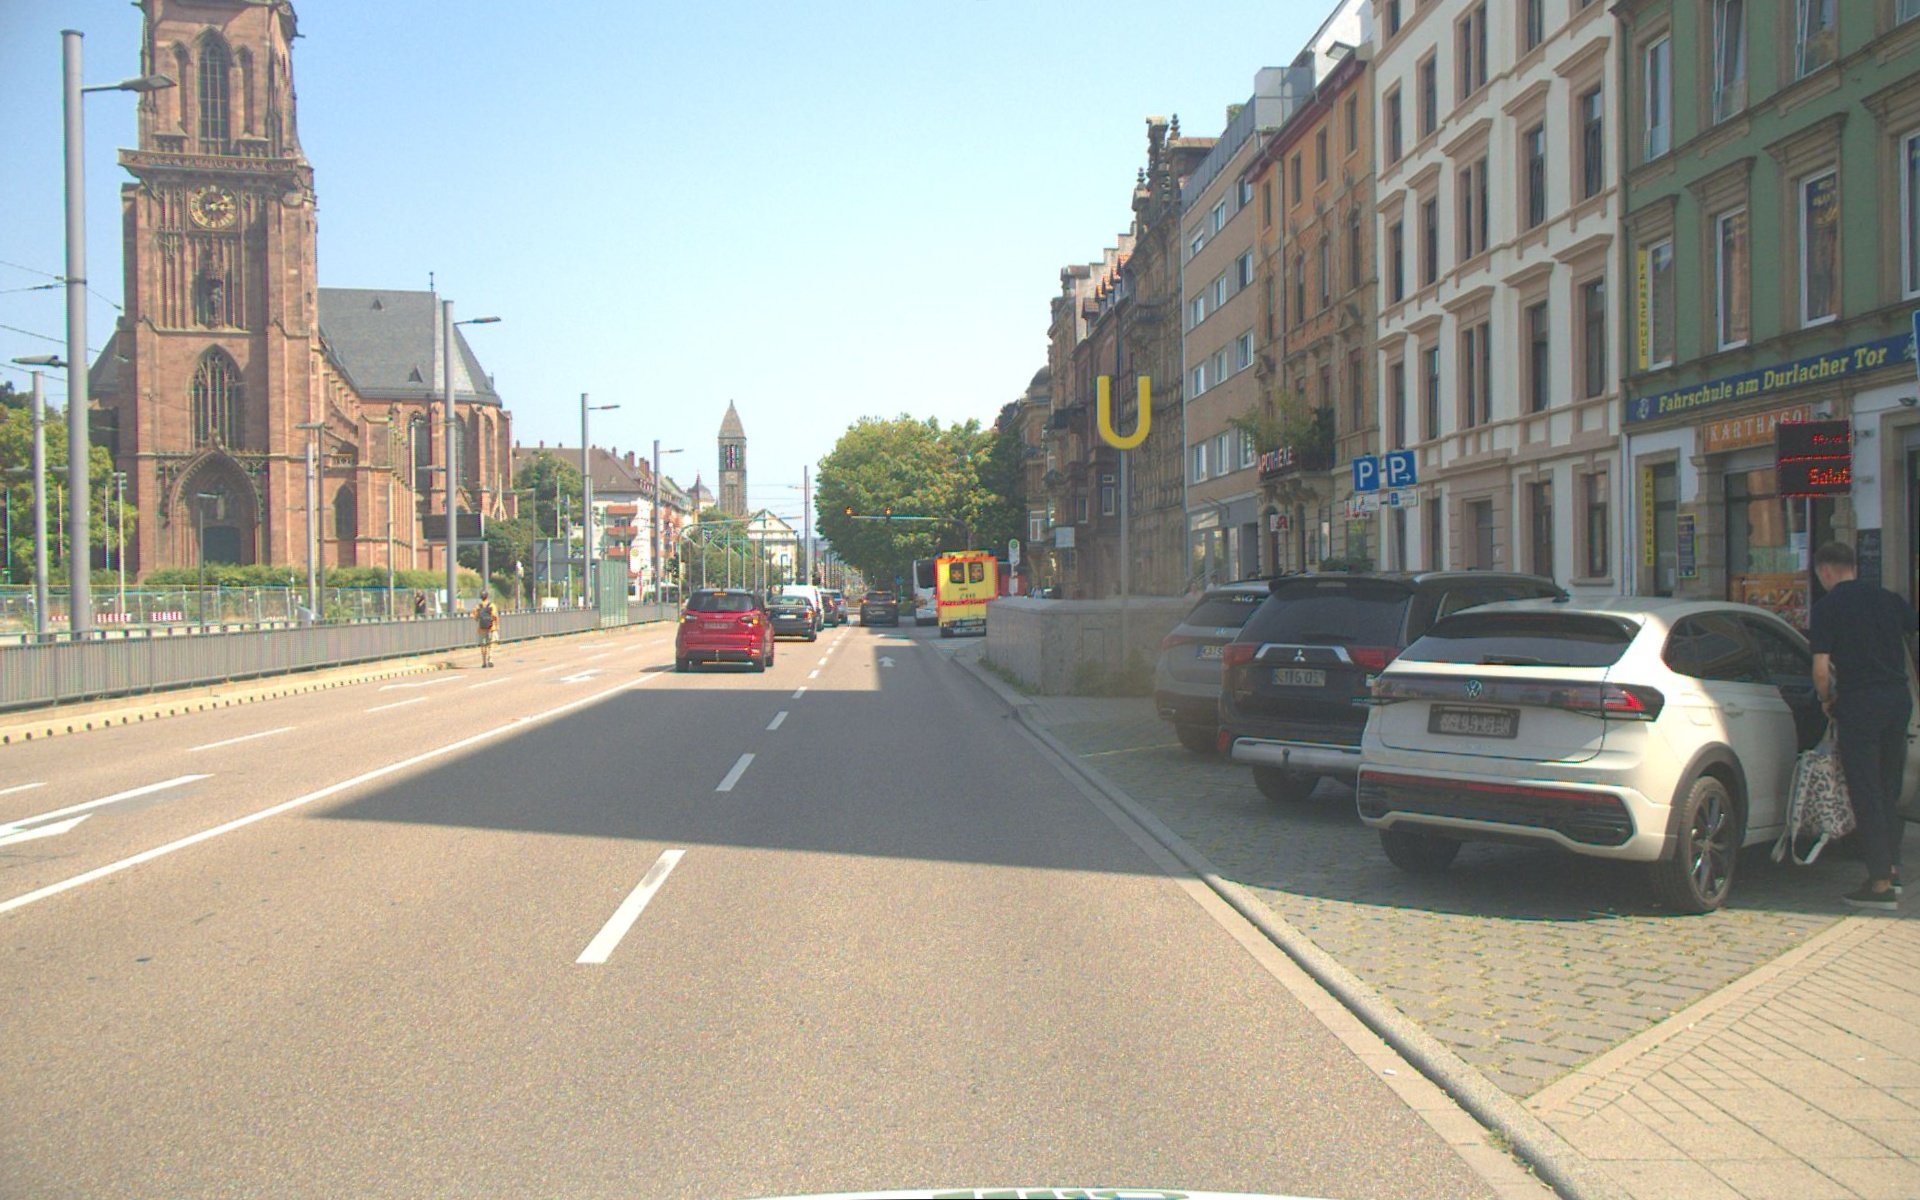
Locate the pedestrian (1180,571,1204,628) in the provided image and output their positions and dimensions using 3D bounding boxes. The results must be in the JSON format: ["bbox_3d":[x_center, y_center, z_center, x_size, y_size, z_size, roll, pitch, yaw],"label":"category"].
[{"bbox_3d":[7.502,-0.017,53.526,0.566,1.780,0.678,-3,0,-3],"label":"pedestrian"}]

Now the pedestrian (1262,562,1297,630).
[{"bbox_3d":[8.592,-0.118,44.551,0.670,1.805,1.017,-1,1,-4],"label":"pedestrian"}]

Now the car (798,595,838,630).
[{"bbox_3d":[-6.461,0.579,75.711,1.755,1.498,3.996,-1,-1,-4],"label":"car"}]

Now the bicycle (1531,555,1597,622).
[{"bbox_3d":[11.193,-0.211,30.714,0.449,1.204,1.846,-1,0,-3],"label":"bicycle"}]

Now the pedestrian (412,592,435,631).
[{"bbox_3d":[-24.916,0.532,76.854,0.812,1.782,0.720,-1,-1,-3],"label":"pedestrian"}]

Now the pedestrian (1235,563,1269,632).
[{"bbox_3d":[7.866,-0.080,44.550,0.670,1.805,1.017,-1,1,-4],"label":"pedestrian"}]

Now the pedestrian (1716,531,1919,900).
[{"bbox_3d":[4.571,0.540,8.411,1.023,1.734,0.895,0,0,-30],"label":"pedestrian"}]

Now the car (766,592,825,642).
[{"bbox_3d":[-5.122,0.493,51.912,1.755,1.456,3.996,-1,1,-5],"label":"car"}]

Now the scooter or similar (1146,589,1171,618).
[{"bbox_3d":[8.476,0.168,70.629,0.505,1.217,1.295,-1,0,-22],"label":"scooter or similar"}]

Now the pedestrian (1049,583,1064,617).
[{"bbox_3d":[4.873,-0.013,83.837,0.682,1.696,1.064,-1,0,-1],"label":"pedestrian"}]

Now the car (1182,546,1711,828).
[{"bbox_3d":[3.762,0.495,12.332,1.954,1.717,4.361,-1,1,45],"label":"car"}]

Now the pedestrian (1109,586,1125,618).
[{"bbox_3d":[8.079,0.094,85.201,0.611,1.621,0.695,-1,0,-9],"label":"pedestrian"}]

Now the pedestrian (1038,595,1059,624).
[{"bbox_3d":[5.816,0.629,108.824,1.224,1.782,1.525,-1,2,-2],"label":"pedestrian"}]

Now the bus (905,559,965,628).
[{"bbox_3d":[-1.334,-0.324,82.004,2.483,3.085,12.428,-1,0,-3],"label":"bus"}]

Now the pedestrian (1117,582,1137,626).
[{"bbox_3d":[6.529,0.150,64.681,0.630,1.714,0.789,-1,0,-4],"label":"pedestrian"}]

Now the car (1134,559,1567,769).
[{"bbox_3d":[3.943,0.495,16.167,2.010,1.743,4.632,-1,1,45],"label":"car"}]

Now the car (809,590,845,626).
[{"bbox_3d":[-6.698,0.426,83.658,1.755,1.728,3.996,-1,-1,-4],"label":"car"}]

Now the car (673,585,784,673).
[{"bbox_3d":[-4.635,0.531,33.632,1.726,1.646,4.081,-1,0,-1],"label":"car"}]

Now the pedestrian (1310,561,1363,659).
[{"bbox_3d":[6.761,0.169,29.758,0.657,1.715,0.942,-1,0,-3],"label":"pedestrian"}]

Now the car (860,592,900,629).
[{"bbox_3d":[-3.790,0.498,77.489,1.755,1.707,3.996,-1,-1,-4],"label":"car"}]

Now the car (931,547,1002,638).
[{"bbox_3d":[0.257,-0.272,57.425,2.252,2.939,5.600,-2,1,1],"label":"car"}]

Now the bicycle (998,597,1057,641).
[{"bbox_3d":[1.915,0.538,46.898,1.639,1.237,0.644,0,0,2],"label":"bicycle"}]

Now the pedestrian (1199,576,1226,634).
[{"bbox_3d":[8.164,0.146,53.520,0.588,1.826,0.879,-3,0,-3],"label":"pedestrian"}]

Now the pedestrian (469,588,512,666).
[{"bbox_3d":[-10.971,0.631,38.657,0.746,1.782,1.068,-1,-1,-5],"label":"pedestrian"}]

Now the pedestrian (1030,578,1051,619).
[{"bbox_3d":[3.338,-0.077,68.583,0.682,1.696,0.603,-1,0,23],"label":"pedestrian"}]

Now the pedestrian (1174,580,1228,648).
[{"bbox_3d":[5.816,0.332,39.945,0.843,1.609,0.958,-1,0,-36],"label":"pedestrian"}]

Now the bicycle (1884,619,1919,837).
[{"bbox_3d":[6.056,0.766,9.465,0.463,1.319,1.791,-2,-1,-1],"label":"bicycle"}]

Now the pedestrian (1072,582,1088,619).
[{"bbox_3d":[5.557,0.034,76.583,0.682,1.696,0.603,-1,0,-1],"label":"pedestrian"}]

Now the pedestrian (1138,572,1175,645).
[{"bbox_3d":[4.958,0.208,41.771,0.832,1.759,0.972,-2,2,3],"label":"pedestrian"}]

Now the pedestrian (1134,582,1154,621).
[{"bbox_3d":[7.215,0.048,64.741,0.630,1.519,0.789,-1,0,-4],"label":"pedestrian"}]

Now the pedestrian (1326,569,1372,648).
[{"bbox_3d":[9.575,0.207,40.712,0.826,1.878,0.684,-3,0,-12],"label":"pedestrian"}]

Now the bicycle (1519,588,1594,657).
[{"bbox_3d":[11.189,0.398,31.109,0.470,1.166,2.471,-1,2,-1],"label":"bicycle"}]

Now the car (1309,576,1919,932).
[{"bbox_3d":[3.769,0.677,9.182,3.756,1.526,1.778,1,1,-44],"label":"car"}]

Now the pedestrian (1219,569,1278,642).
[{"bbox_3d":[6.486,0.127,37.197,0.843,1.609,0.958,-1,0,-36],"label":"pedestrian"}]

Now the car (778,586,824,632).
[{"bbox_3d":[-6.482,0.364,67.829,1.755,1.811,3.996,-1,-1,-4],"label":"car"}]
